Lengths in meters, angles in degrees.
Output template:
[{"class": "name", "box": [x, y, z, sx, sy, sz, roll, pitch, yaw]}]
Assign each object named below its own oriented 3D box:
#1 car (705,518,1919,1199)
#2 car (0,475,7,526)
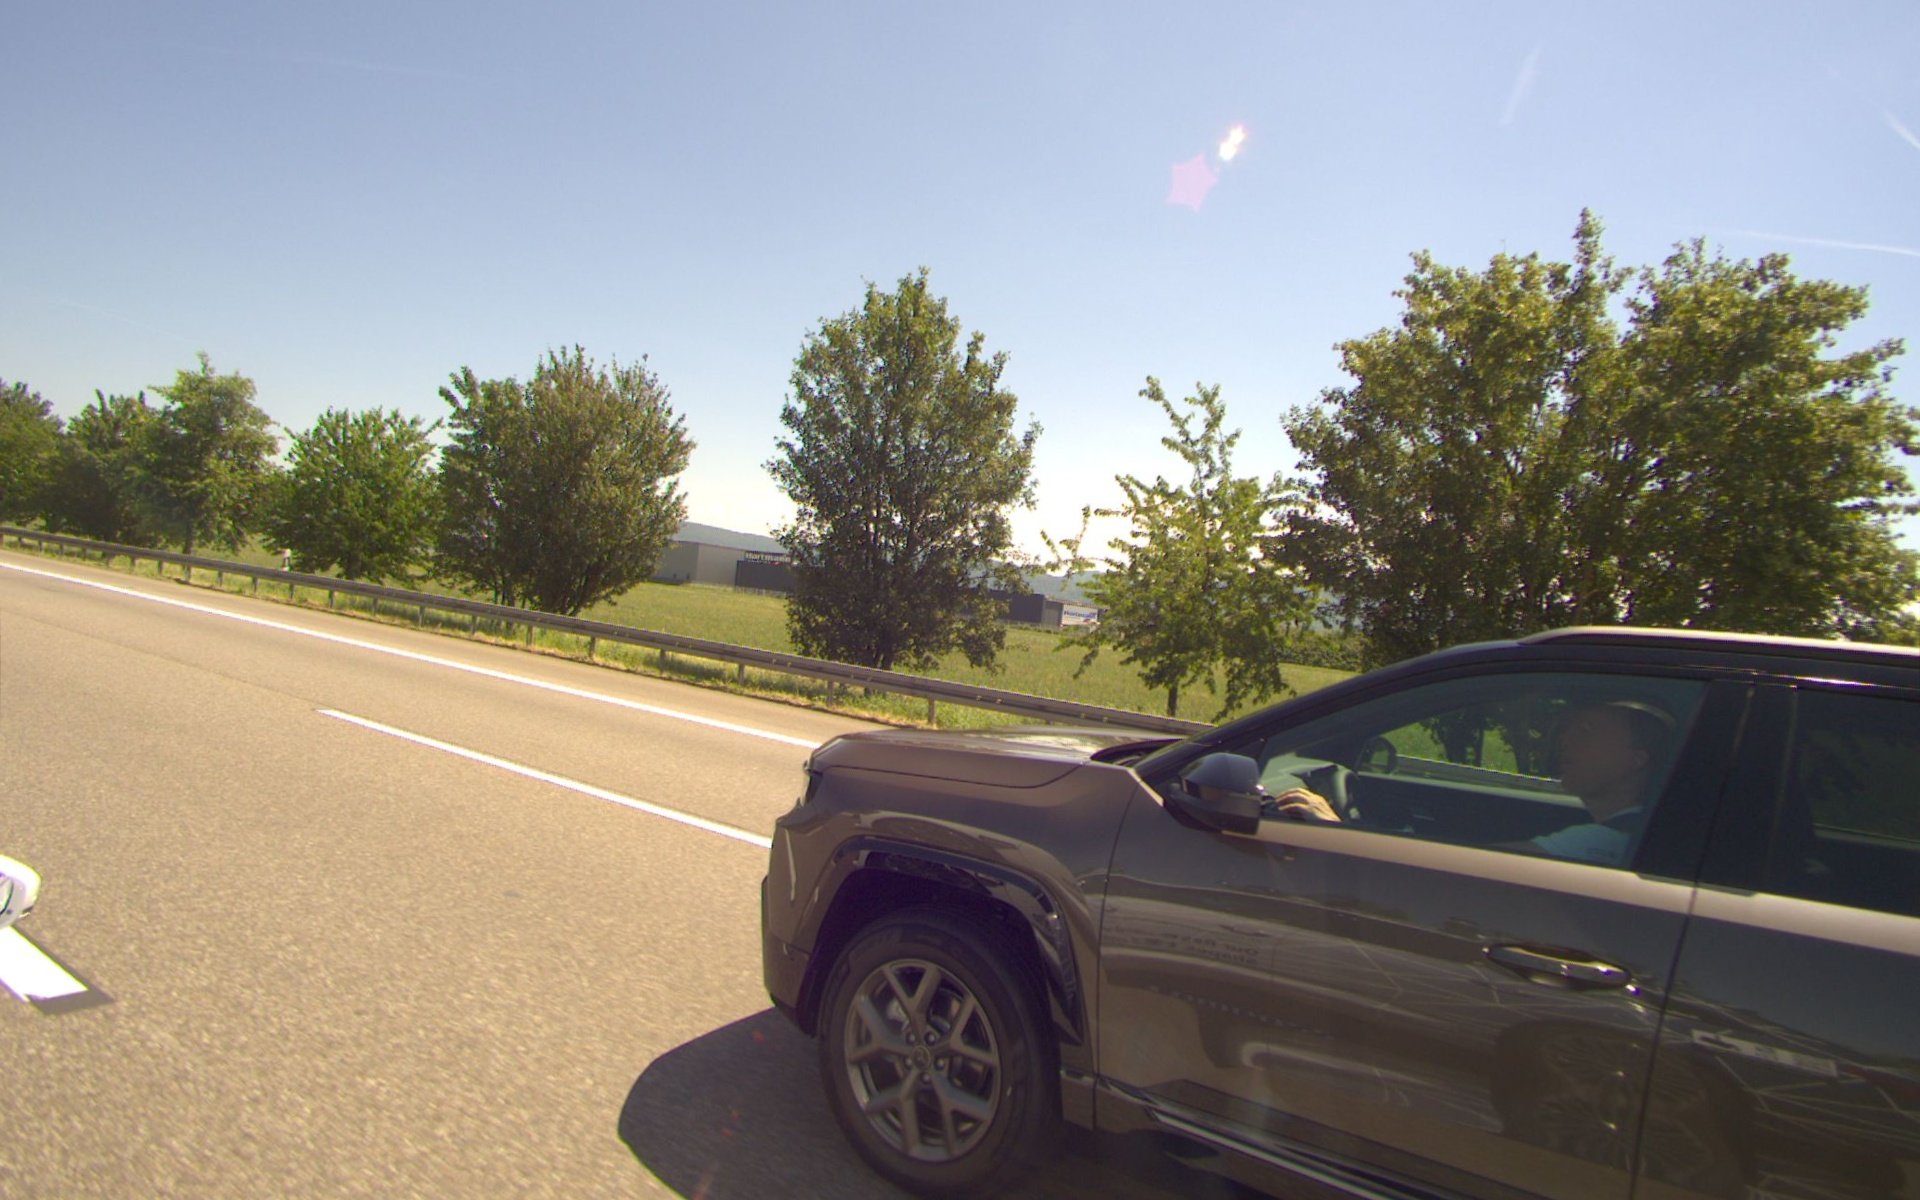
[{"class": "car", "box": [1.818, 0.915, 2.452, 4.668, 1.694, 1.871, 6, -2, 32]}, {"class": "car", "box": [-15.287, -1.039, 13.849, 4.624, 1.884, 1.857, 6, -2, 31]}]
